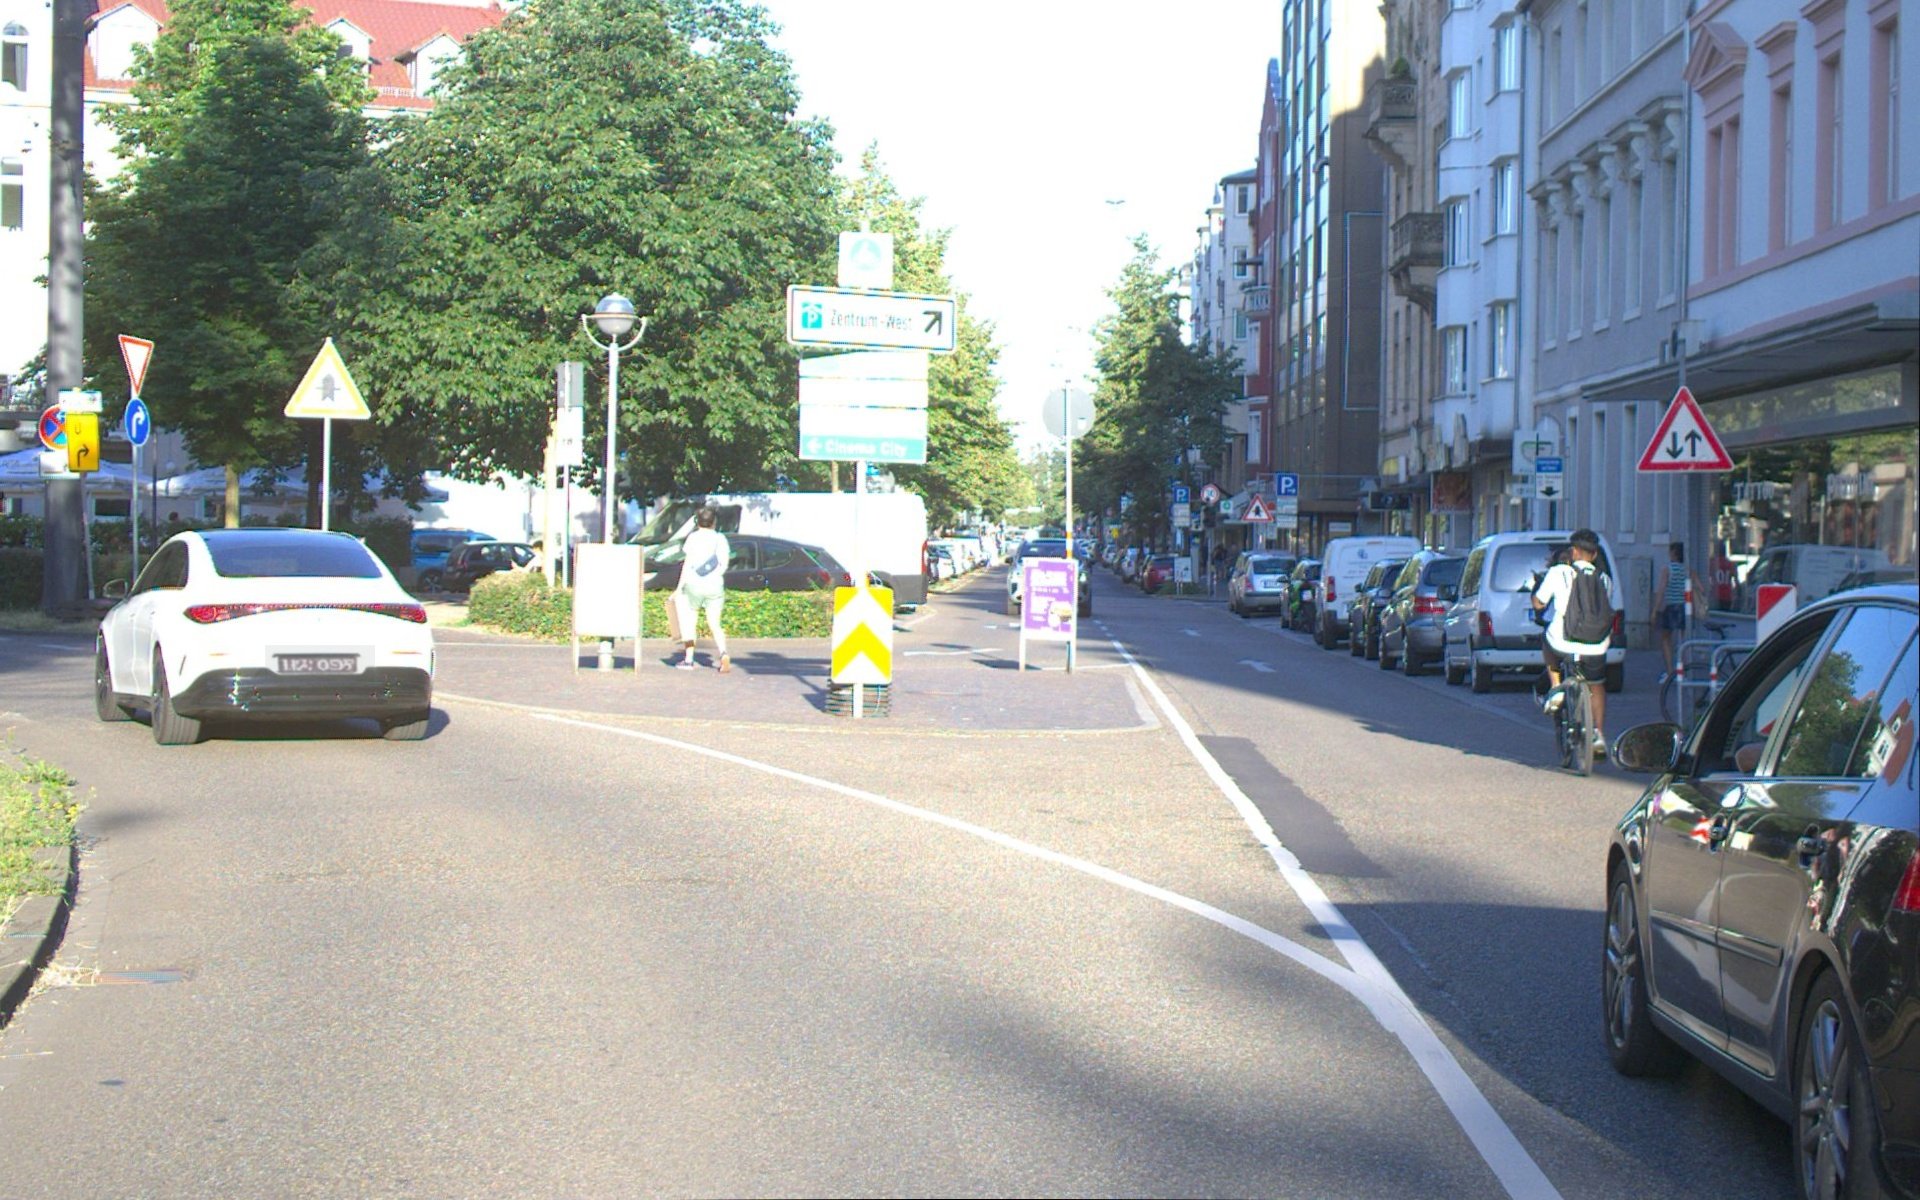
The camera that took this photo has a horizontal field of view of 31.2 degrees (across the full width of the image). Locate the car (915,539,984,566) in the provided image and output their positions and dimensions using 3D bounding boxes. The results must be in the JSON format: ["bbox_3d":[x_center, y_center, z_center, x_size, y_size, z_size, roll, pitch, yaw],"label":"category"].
[{"bbox_3d":[-0.580,-2.564,186.033,3.377,1.283,1.673,2,1,-14],"label":"car"}]

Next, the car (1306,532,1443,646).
[{"bbox_3d":[6.874,-0.205,57.339,1.925,1.835,4.017,0,1,2],"label":"car"}]

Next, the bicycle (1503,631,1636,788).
[{"bbox_3d":[4.245,0.745,24.040,0.579,0.984,1.936,2,1,1],"label":"bicycle"}]

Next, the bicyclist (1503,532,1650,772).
[{"bbox_3d":[4.299,0.345,24.030,0.777,1.613,1.025,2,1,0],"label":"bicyclist"}]

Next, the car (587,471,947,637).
[{"bbox_3d":[-3.203,-0.748,57.133,5.510,2.586,2.155,1,1,-25],"label":"car"}]

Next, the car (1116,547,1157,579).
[{"bbox_3d":[8.361,-1.760,163.375,1.752,1.505,3.545,0,1,0],"label":"car"}]

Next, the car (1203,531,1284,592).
[{"bbox_3d":[7.210,-0.990,87.633,1.752,1.505,3.545,0,1,0],"label":"car"}]

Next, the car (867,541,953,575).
[{"bbox_3d":[-2.142,-1.798,147.057,3.377,1.283,1.673,2,1,-14],"label":"car"}]

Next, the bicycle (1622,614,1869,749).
[{"bbox_3d":[6.370,0.648,27.909,1.850,1.042,0.580,0,2,32],"label":"bicycle"}]

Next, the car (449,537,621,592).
[{"bbox_3d":[-10.799,-0.906,87.352,3.986,1.297,1.853,1,1,-21],"label":"car"}]

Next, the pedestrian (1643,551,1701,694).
[{"bbox_3d":[8.200,0.250,39.591,0.502,1.619,0.496,2,1,1],"label":"pedestrian"}]

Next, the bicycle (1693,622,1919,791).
[{"bbox_3d":[5.977,0.723,23.882,1.605,1.115,0.611,0,2,35],"label":"bicycle"}]

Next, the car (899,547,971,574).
[{"bbox_3d":[-1.310,-2.041,178.164,3.377,1.283,1.673,2,1,-14],"label":"car"}]

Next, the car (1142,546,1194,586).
[{"bbox_3d":[7.903,-1.306,130.775,1.752,1.505,3.545,0,1,0],"label":"car"}]

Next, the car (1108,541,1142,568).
[{"bbox_3d":[9.304,-2.550,194.087,1.752,1.505,3.545,0,1,0],"label":"car"}]

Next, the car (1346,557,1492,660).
[{"bbox_3d":[6.733,0.096,50.723,1.734,1.457,3.585,0,1,1],"label":"car"}]

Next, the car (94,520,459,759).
[{"bbox_3d":[-4.935,0.200,24.402,1.864,1.436,4.198,-1,3,-21],"label":"car"}]

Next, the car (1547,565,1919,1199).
[{"bbox_3d":[2.650,0.682,8.425,1.747,1.456,4.103,2,1,1],"label":"car"}]

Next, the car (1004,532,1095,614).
[{"bbox_3d":[2.082,-0.640,79.320,1.993,1.766,4.000,1,1,2],"label":"car"}]

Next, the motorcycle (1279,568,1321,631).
[{"bbox_3d":[6.572,-0.023,66.509,0.486,1.170,1.607,-1,2,-6],"label":"motorcycle"}]

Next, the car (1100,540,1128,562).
[{"bbox_3d":[10.588,-3.380,236.482,1.752,1.505,3.545,0,1,0],"label":"car"}]

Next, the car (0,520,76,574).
[{"bbox_3d":[-24.273,-1.365,85.952,3.986,1.297,1.853,1,1,-21],"label":"car"}]

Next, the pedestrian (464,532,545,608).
[{"bbox_3d":[-7.646,-0.511,57.666,1.097,1.222,0.860,2,1,-25],"label":"pedestrian"}]

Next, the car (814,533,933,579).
[{"bbox_3d":[-2.685,-1.379,106.681,3.377,1.283,1.673,2,1,-14],"label":"car"}]

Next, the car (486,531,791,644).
[{"bbox_3d":[-4.682,-0.174,50.224,3.987,1.546,1.879,1,1,-32],"label":"car"}]

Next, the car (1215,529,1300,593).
[{"bbox_3d":[7.219,-0.956,83.580,1.752,1.505,3.545,0,1,0],"label":"car"}]

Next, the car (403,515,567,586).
[{"bbox_3d":[-12.746,-1.331,92.259,3.986,1.776,1.853,1,1,-21],"label":"car"}]

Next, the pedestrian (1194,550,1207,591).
[{"bbox_3d":[11.542,-1.418,164.754,0.531,1.917,0.542,1,1,0],"label":"pedestrian"}]

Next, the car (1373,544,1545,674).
[{"bbox_3d":[6.462,0.087,44.838,1.734,1.611,3.917,0,1,1],"label":"car"}]

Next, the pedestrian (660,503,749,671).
[{"bbox_3d":[-2.675,-0.140,35.882,0.859,1.700,0.941,2,1,-5],"label":"pedestrian"}]

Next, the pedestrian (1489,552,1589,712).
[{"bbox_3d":[5.730,0.314,34.028,0.630,1.549,0.738,1,1,-25],"label":"pedestrian"}]

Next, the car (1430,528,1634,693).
[{"bbox_3d":[6.498,0.086,39.397,1.734,1.794,3.917,0,1,1],"label":"car"}]
